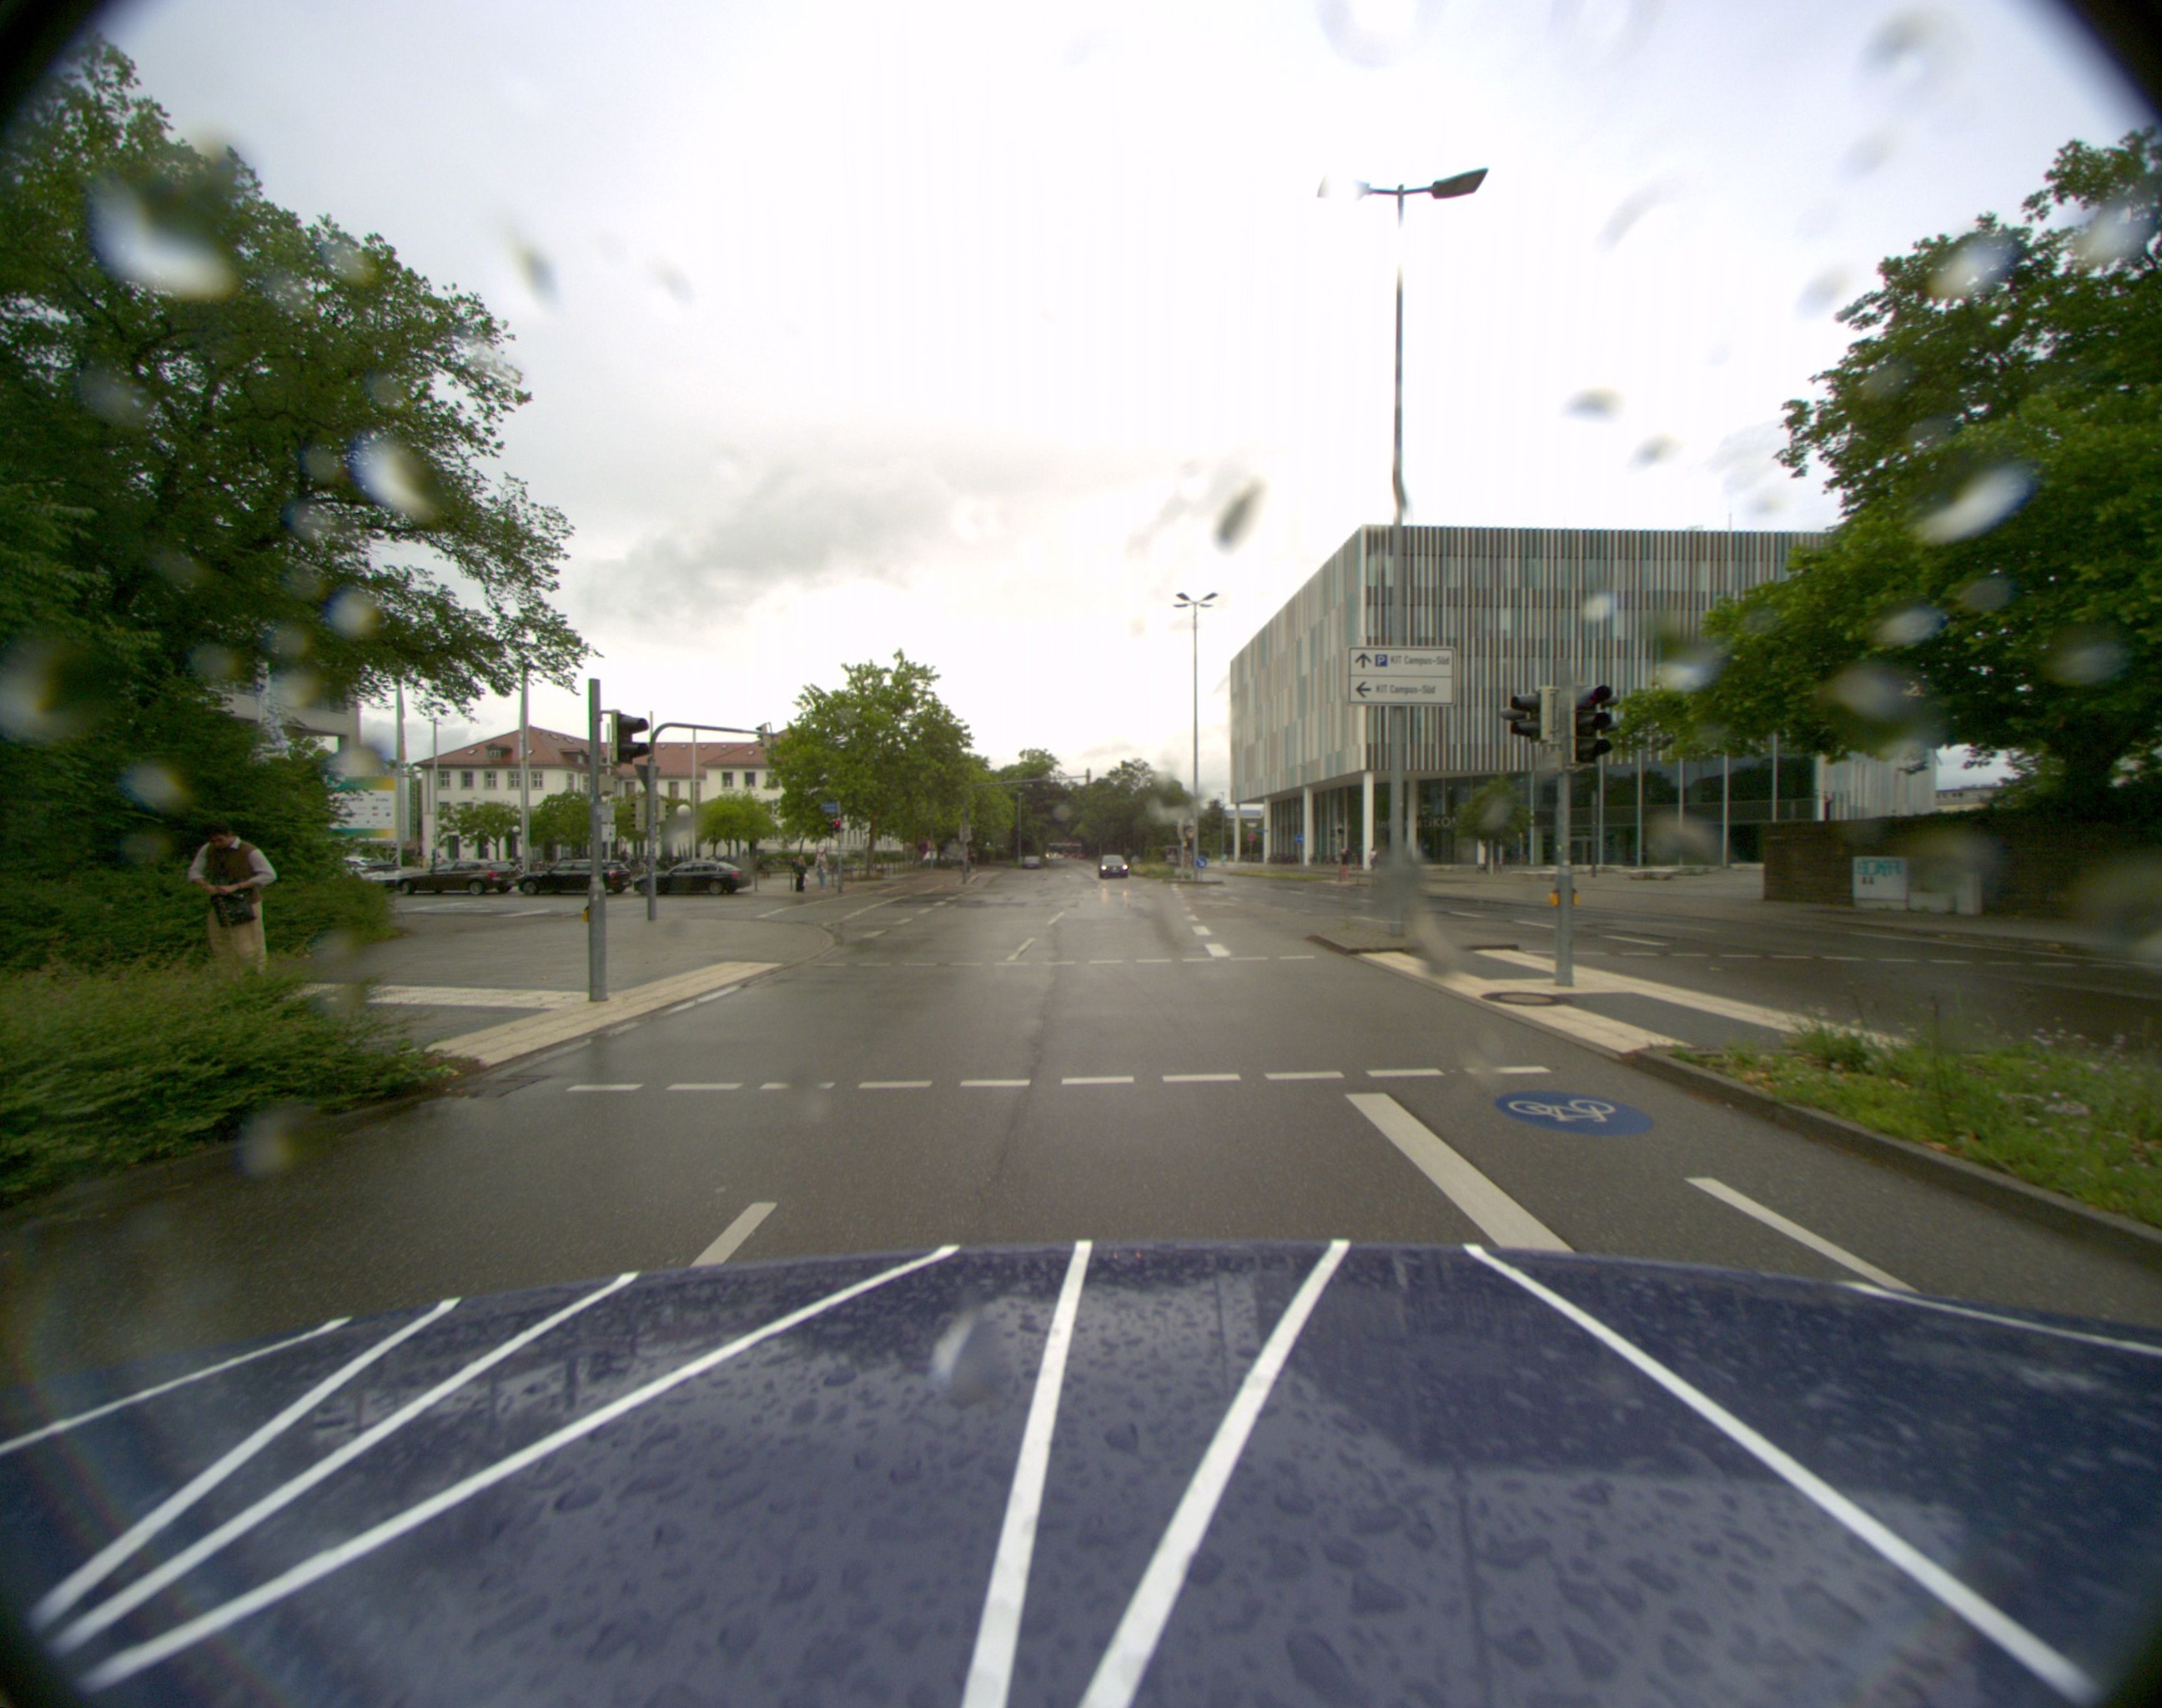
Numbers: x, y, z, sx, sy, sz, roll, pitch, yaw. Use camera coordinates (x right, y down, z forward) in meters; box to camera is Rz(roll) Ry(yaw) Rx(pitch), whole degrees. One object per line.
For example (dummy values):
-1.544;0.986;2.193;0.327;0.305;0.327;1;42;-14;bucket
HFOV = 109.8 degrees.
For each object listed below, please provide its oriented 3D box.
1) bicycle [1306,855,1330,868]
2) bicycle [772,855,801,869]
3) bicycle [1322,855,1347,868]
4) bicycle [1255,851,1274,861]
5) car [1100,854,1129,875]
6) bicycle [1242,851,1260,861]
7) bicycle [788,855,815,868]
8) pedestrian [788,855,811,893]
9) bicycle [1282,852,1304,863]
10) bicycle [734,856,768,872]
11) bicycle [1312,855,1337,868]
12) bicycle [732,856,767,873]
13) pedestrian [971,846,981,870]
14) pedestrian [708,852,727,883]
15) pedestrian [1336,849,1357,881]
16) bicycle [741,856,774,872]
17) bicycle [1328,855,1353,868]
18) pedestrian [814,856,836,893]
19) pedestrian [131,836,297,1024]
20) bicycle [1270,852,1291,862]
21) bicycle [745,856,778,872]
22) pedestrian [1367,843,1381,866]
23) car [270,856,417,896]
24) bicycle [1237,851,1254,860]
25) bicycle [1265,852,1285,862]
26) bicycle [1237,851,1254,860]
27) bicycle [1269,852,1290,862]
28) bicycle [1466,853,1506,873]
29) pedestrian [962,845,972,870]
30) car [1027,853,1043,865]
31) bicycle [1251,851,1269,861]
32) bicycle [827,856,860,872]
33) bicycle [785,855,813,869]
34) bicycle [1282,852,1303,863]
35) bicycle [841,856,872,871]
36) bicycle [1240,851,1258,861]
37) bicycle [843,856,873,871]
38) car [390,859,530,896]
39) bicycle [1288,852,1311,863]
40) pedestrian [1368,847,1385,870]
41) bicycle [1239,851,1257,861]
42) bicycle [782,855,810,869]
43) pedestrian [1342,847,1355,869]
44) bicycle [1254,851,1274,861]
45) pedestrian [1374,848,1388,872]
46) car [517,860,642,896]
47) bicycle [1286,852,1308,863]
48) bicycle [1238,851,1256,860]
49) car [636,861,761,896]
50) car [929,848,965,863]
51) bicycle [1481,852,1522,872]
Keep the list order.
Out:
23.455;0.726;75.190;2.287;1.215;0.598;0;1;-12;bicycle
-25.549;0.704;65.949;2.287;1.215;0.598;0;1;-12;bicycle
24.265;0.739;72.693;2.287;1.215;0.598;0;1;-12;bicycle
23.137;0.288;95.613;2.282;1.215;0.599;0;1;9;bicycle
2.174;0.673;50.175;1.661;1.357;4.106;0;0;-1;car
22.074;0.273;98.514;2.282;1.215;0.599;0;1;9;bicycle
-25.654;0.686;69.715;2.287;1.215;0.598;0;1;-12;bicycle
-12.181;0.867;32.880;0.878;1.598;0.862;0;1;-17;pedestrian
23.342;0.347;83.568;2.282;1.215;0.599;0;1;9;bicycle
-24.744;0.749;57.010;2.287;1.215;0.598;0;1;-12;bicycle
23.732;0.732;74.096;2.287;1.215;0.598;0;1;-12;bicycle
-24.461;0.754;56.020;2.287;1.215;0.598;0;1;-12;bicycle
-7.805;0.282;56.493;0.625;1.814;0.785;0;1;-22;pedestrian
-21.068;0.780;44.016;0.851;1.728;1.120;-1;1;-32;pedestrian
15.128;0.604;43.333;0.788;1.814;0.794;0;1;-23;pedestrian
-24.649;0.744;57.932;2.287;1.215;0.598;0;1;-12;bicycle
24.599;0.742;72.080;2.287;1.215;0.598;0;1;-12;bicycle
-11.132;0.874;33.045;0.878;1.598;0.862;0;1;-22;pedestrian
-8.986;0.747;7.913;0.731;1.848;0.851;0;1;7;pedestrian
22.712;0.331;86.620;2.282;1.215;0.599;0;1;9;bicycle
-24.703;0.740;58.738;2.287;1.215;0.598;0;1;-12;bicycle
22.742;0.046;58.973;0.788;1.814;0.623;0;1;-23;pedestrian
-30.612;0.886;31.650;4.099;1.510;1.771;0;3;-5;car
22.614;0.246;104.272;2.282;1.215;0.599;0;1;9;bicycle
22.789;0.336;89.210;2.282;1.215;0.599;0;1;9;bicycle
22.425;0.249;103.518;2.282;1.215;0.599;0;1;9;bicycle
22.843;0.327;87.447;2.282;1.215;0.599;0;1;9;bicycle
24.907;0.518;46.747;2.287;1.215;0.598;0;1;-12;bicycle
-8.444;0.266;56.205;0.625;1.814;0.786;0;1;-14;pedestrian
-4.978;0.529;82.793;1.661;1.259;4.106;0;0;-1;car
22.819;0.282;96.885;2.282;1.215;0.599;0;1;9;bicycle
-17.727;0.759;56.825;2.287;1.215;0.598;0;1;-12;bicycle
-25.488;0.691;68.646;2.287;1.215;0.598;0;1;-12;bicycle
23.502;0.411;84.485;2.282;1.215;0.599;0;1;9;bicycle
-17.754;0.743;60.097;2.287;1.215;0.598;0;1;-12;bicycle
22.029;0.268;99.398;2.282;1.215;0.599;0;1;9;bicycle
-18.056;0.736;61.628;2.287;1.215;0.598;0;1;-12;bicycle
-25.907;0.952;31.818;4.235;1.391;1.772;0;3;-3;car
23.401;0.357;81.446;2.282;1.215;0.599;0;1;9;bicycle
23.528;0.314;60.518;0.940;1.814;0.922;0;1;-23;pedestrian
22.041;0.263;100.510;2.282;1.215;0.599;0;1;9;bicycle
-25.386;0.696;67.640;2.287;1.215;0.598;0;1;-12;bicycle
21.741;0.304;61.785;0.922;1.814;0.940;0;1;16;pedestrian
22.855;0.291;94.906;2.282;1.215;0.599;0;1;9;bicycle
22.780;0.488;57.762;0.788;1.814;0.623;0;1;-23;pedestrian
-20.997;0.993;31.960;4.014;1.371;1.772;0;3;-1;car
23.427;0.352;82.533;2.282;1.215;0.599;0;1;9;bicycle
22.228;0.257;101.814;2.282;1.215;0.599;0;1;9;bicycle
-16.241;1.021;32.416;4.388;1.330;1.772;0;3;-3;car
-17.003;0.215;96.312;4.426;1.862;1.637;0;1;-8;car
25.321;0.458;45.765;2.287;1.215;0.598;0;1;-12;bicycle
